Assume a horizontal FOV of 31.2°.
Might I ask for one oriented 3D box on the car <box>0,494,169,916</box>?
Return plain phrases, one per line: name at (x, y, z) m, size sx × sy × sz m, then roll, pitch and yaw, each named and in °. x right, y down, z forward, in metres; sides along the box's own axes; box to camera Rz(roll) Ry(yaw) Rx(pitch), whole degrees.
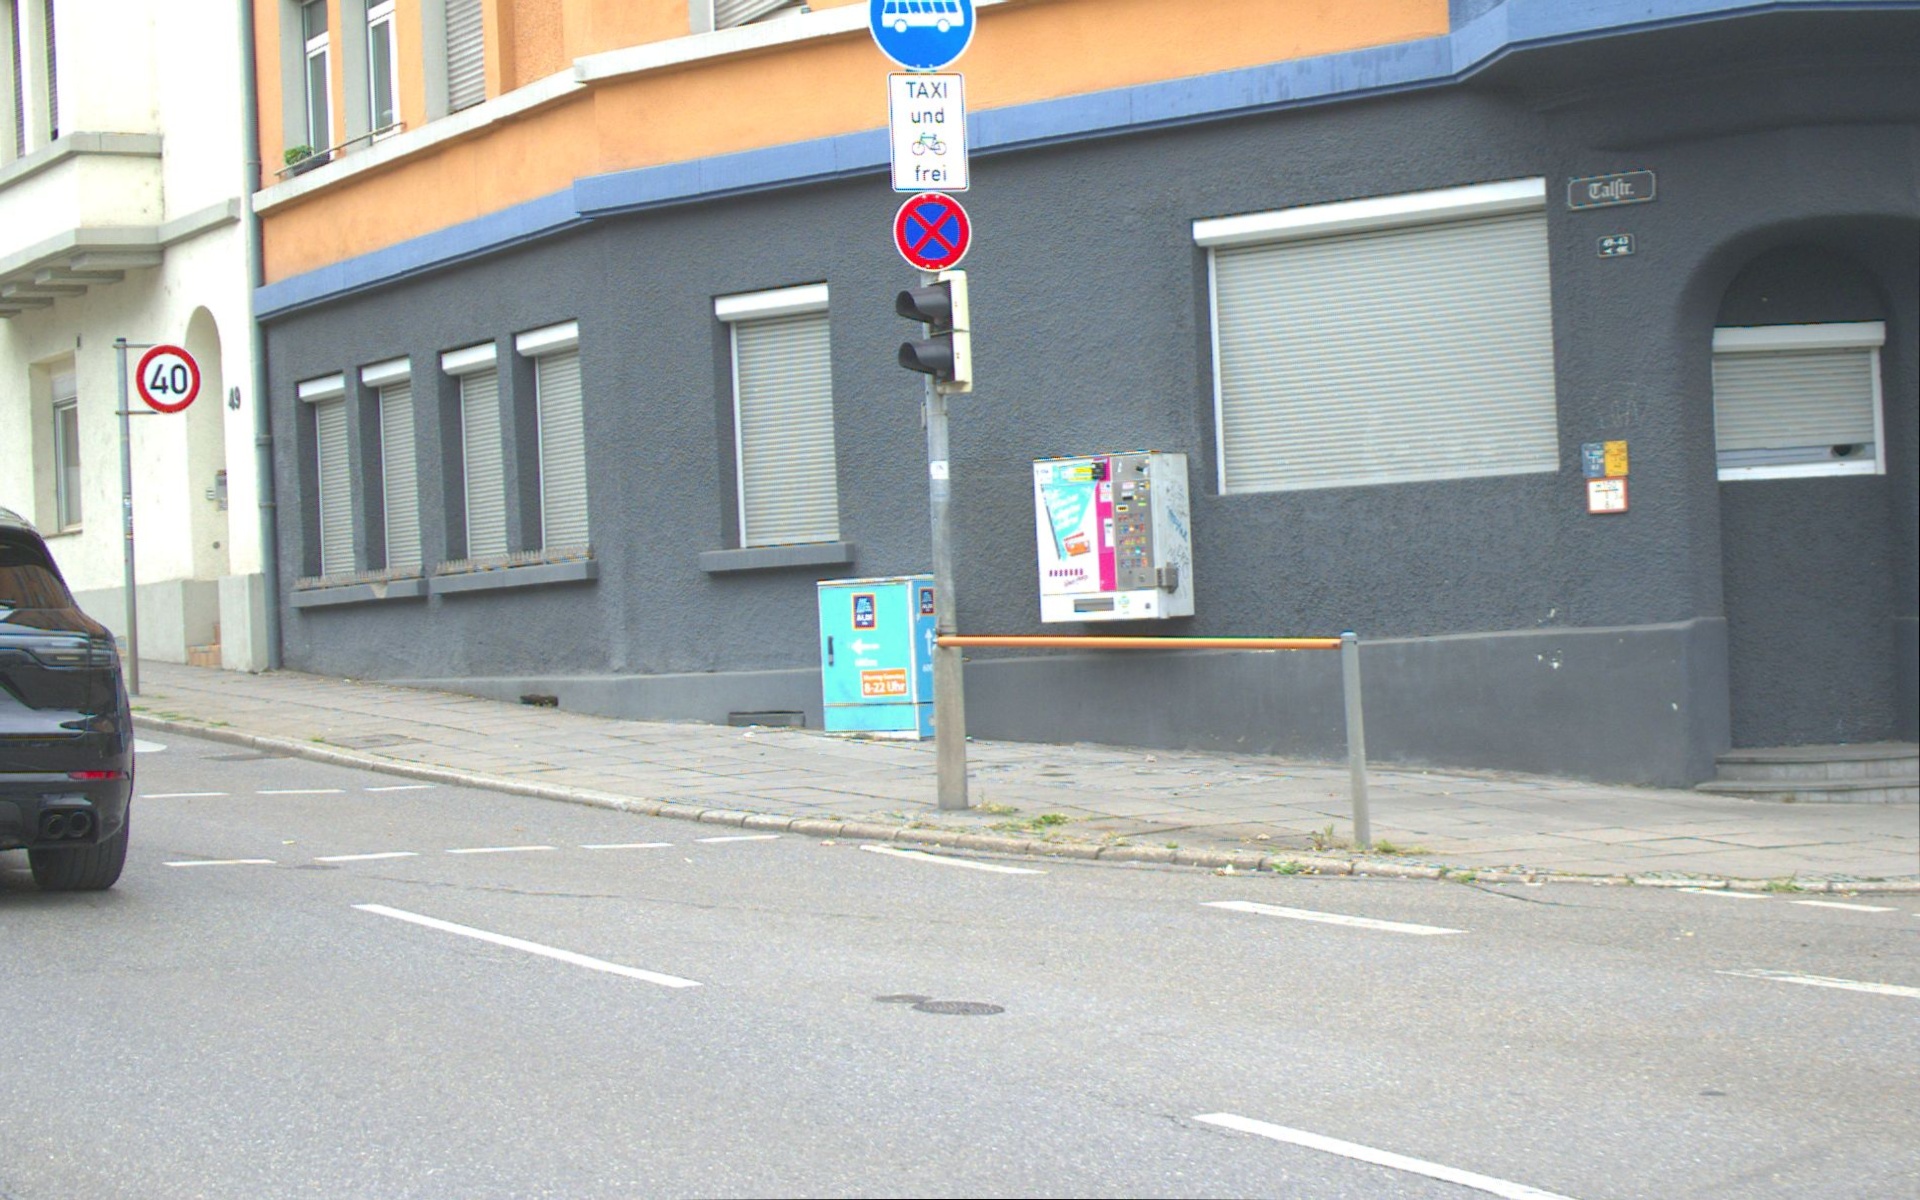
car at (-4.990, 0.361, 15.108) m, size 2.023 × 1.636 × 4.357 m, roll 0°, pitch 1°, yaw -26°
